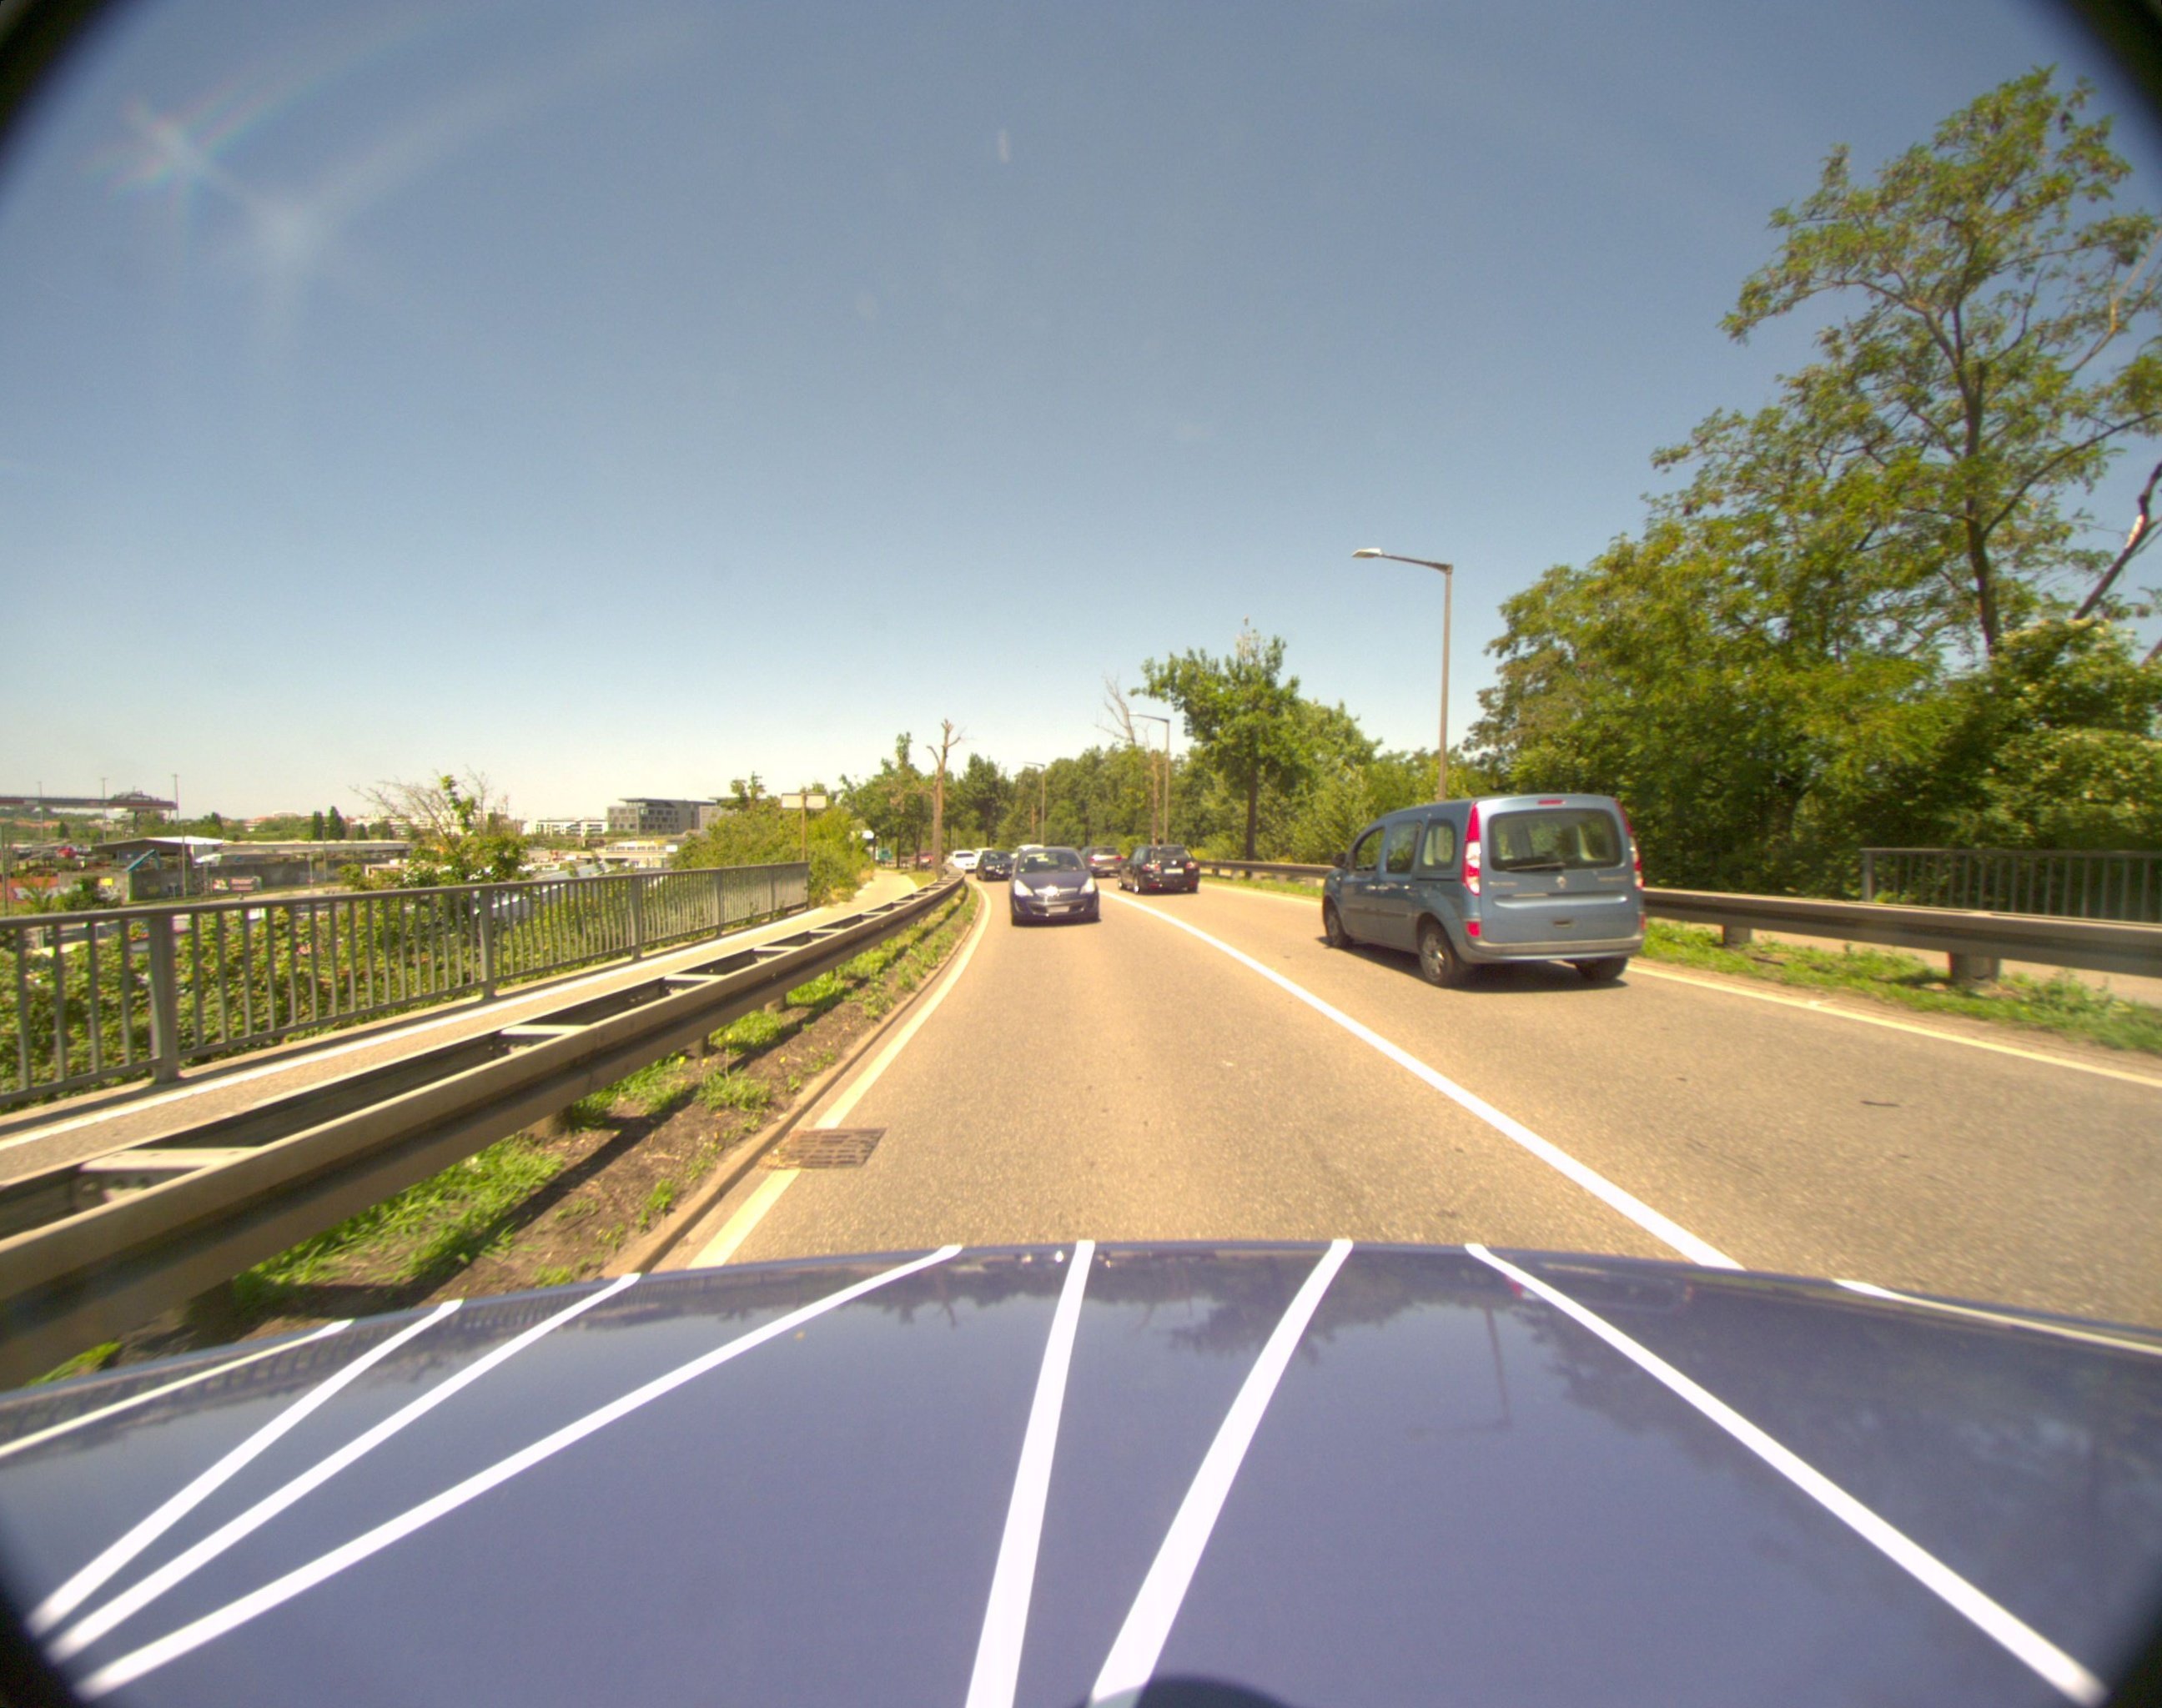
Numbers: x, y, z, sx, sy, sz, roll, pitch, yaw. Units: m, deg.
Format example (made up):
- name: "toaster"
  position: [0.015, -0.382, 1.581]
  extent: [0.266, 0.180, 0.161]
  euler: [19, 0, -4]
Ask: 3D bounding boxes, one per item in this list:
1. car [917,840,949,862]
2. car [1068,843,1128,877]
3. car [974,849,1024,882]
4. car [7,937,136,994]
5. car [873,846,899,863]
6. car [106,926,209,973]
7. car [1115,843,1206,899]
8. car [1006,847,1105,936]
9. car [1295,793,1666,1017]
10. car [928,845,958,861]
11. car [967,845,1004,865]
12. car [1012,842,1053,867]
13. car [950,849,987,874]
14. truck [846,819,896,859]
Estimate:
- name: "car"
  position: [-12.828, -0.280, 65.524]
  extent: [1.904, 1.645, 4.248]
  euler: [-3, 3, -22]
- name: "car"
  position: [0.699, 0.231, 34.461]
  extent: [1.722, 1.419, 4.102]
  euler: [-2, 1, -13]
- name: "car"
  position: [-3.973, 0.488, 36.228]
  extent: [1.571, 1.408, 4.116]
  euler: [-3, 1, -17]
- name: "car"
  position: [-58.755, 6.420, 44.379]
  extent: [2.154, 2.339, 4.919]
  euler: [-7, 2, -24]
- name: "car"
  position: [-24.320, 0.058, 94.682]
  extent: [1.838, 1.928, 4.764]
  euler: [-3, 2, -29]
- name: "car"
  position: [-61.503, 6.315, 50.763]
  extent: [2.154, 2.339, 4.919]
  euler: [-7, 2, -24]
- name: "car"
  position: [2.269, 0.422, 22.927]
  extent: [1.762, 1.434, 4.564]
  euler: [-3, 2, -6]
- name: "car"
  position: [-0.655, 0.645, 15.688]
  extent: [1.699, 1.460, 4.380]
  euler: [-3, 1, -6]
- name: "car"
  position: [4.038, 0.385, 8.628]
  extent: [1.761, 1.844, 4.273]
  euler: [-2, 2, -3]
- name: "car"
  position: [-14.121, -0.099, 77.455]
  extent: [1.854, 1.459, 4.731]
  euler: [-3, 1, -24]
- name: "car"
  position: [-7.849, 0.084, 62.100]
  extent: [1.708, 1.439, 4.450]
  euler: [-3, 1, -24]
- name: "car"
  position: [-3.277, 0.022, 50.303]
  extent: [1.752, 1.537, 4.386]
  euler: [-3, 1, -16]
- name: "car"
  position: [-7.255, 0.461, 48.759]
  extent: [1.819, 1.420, 3.710]
  euler: [-3, 1, -16]
- name: "truck"
  position: [-24.498, -1.668, 88.149]
  extent: [2.864, 4.245, 8.793]
  euler: [-3, 2, -33]
